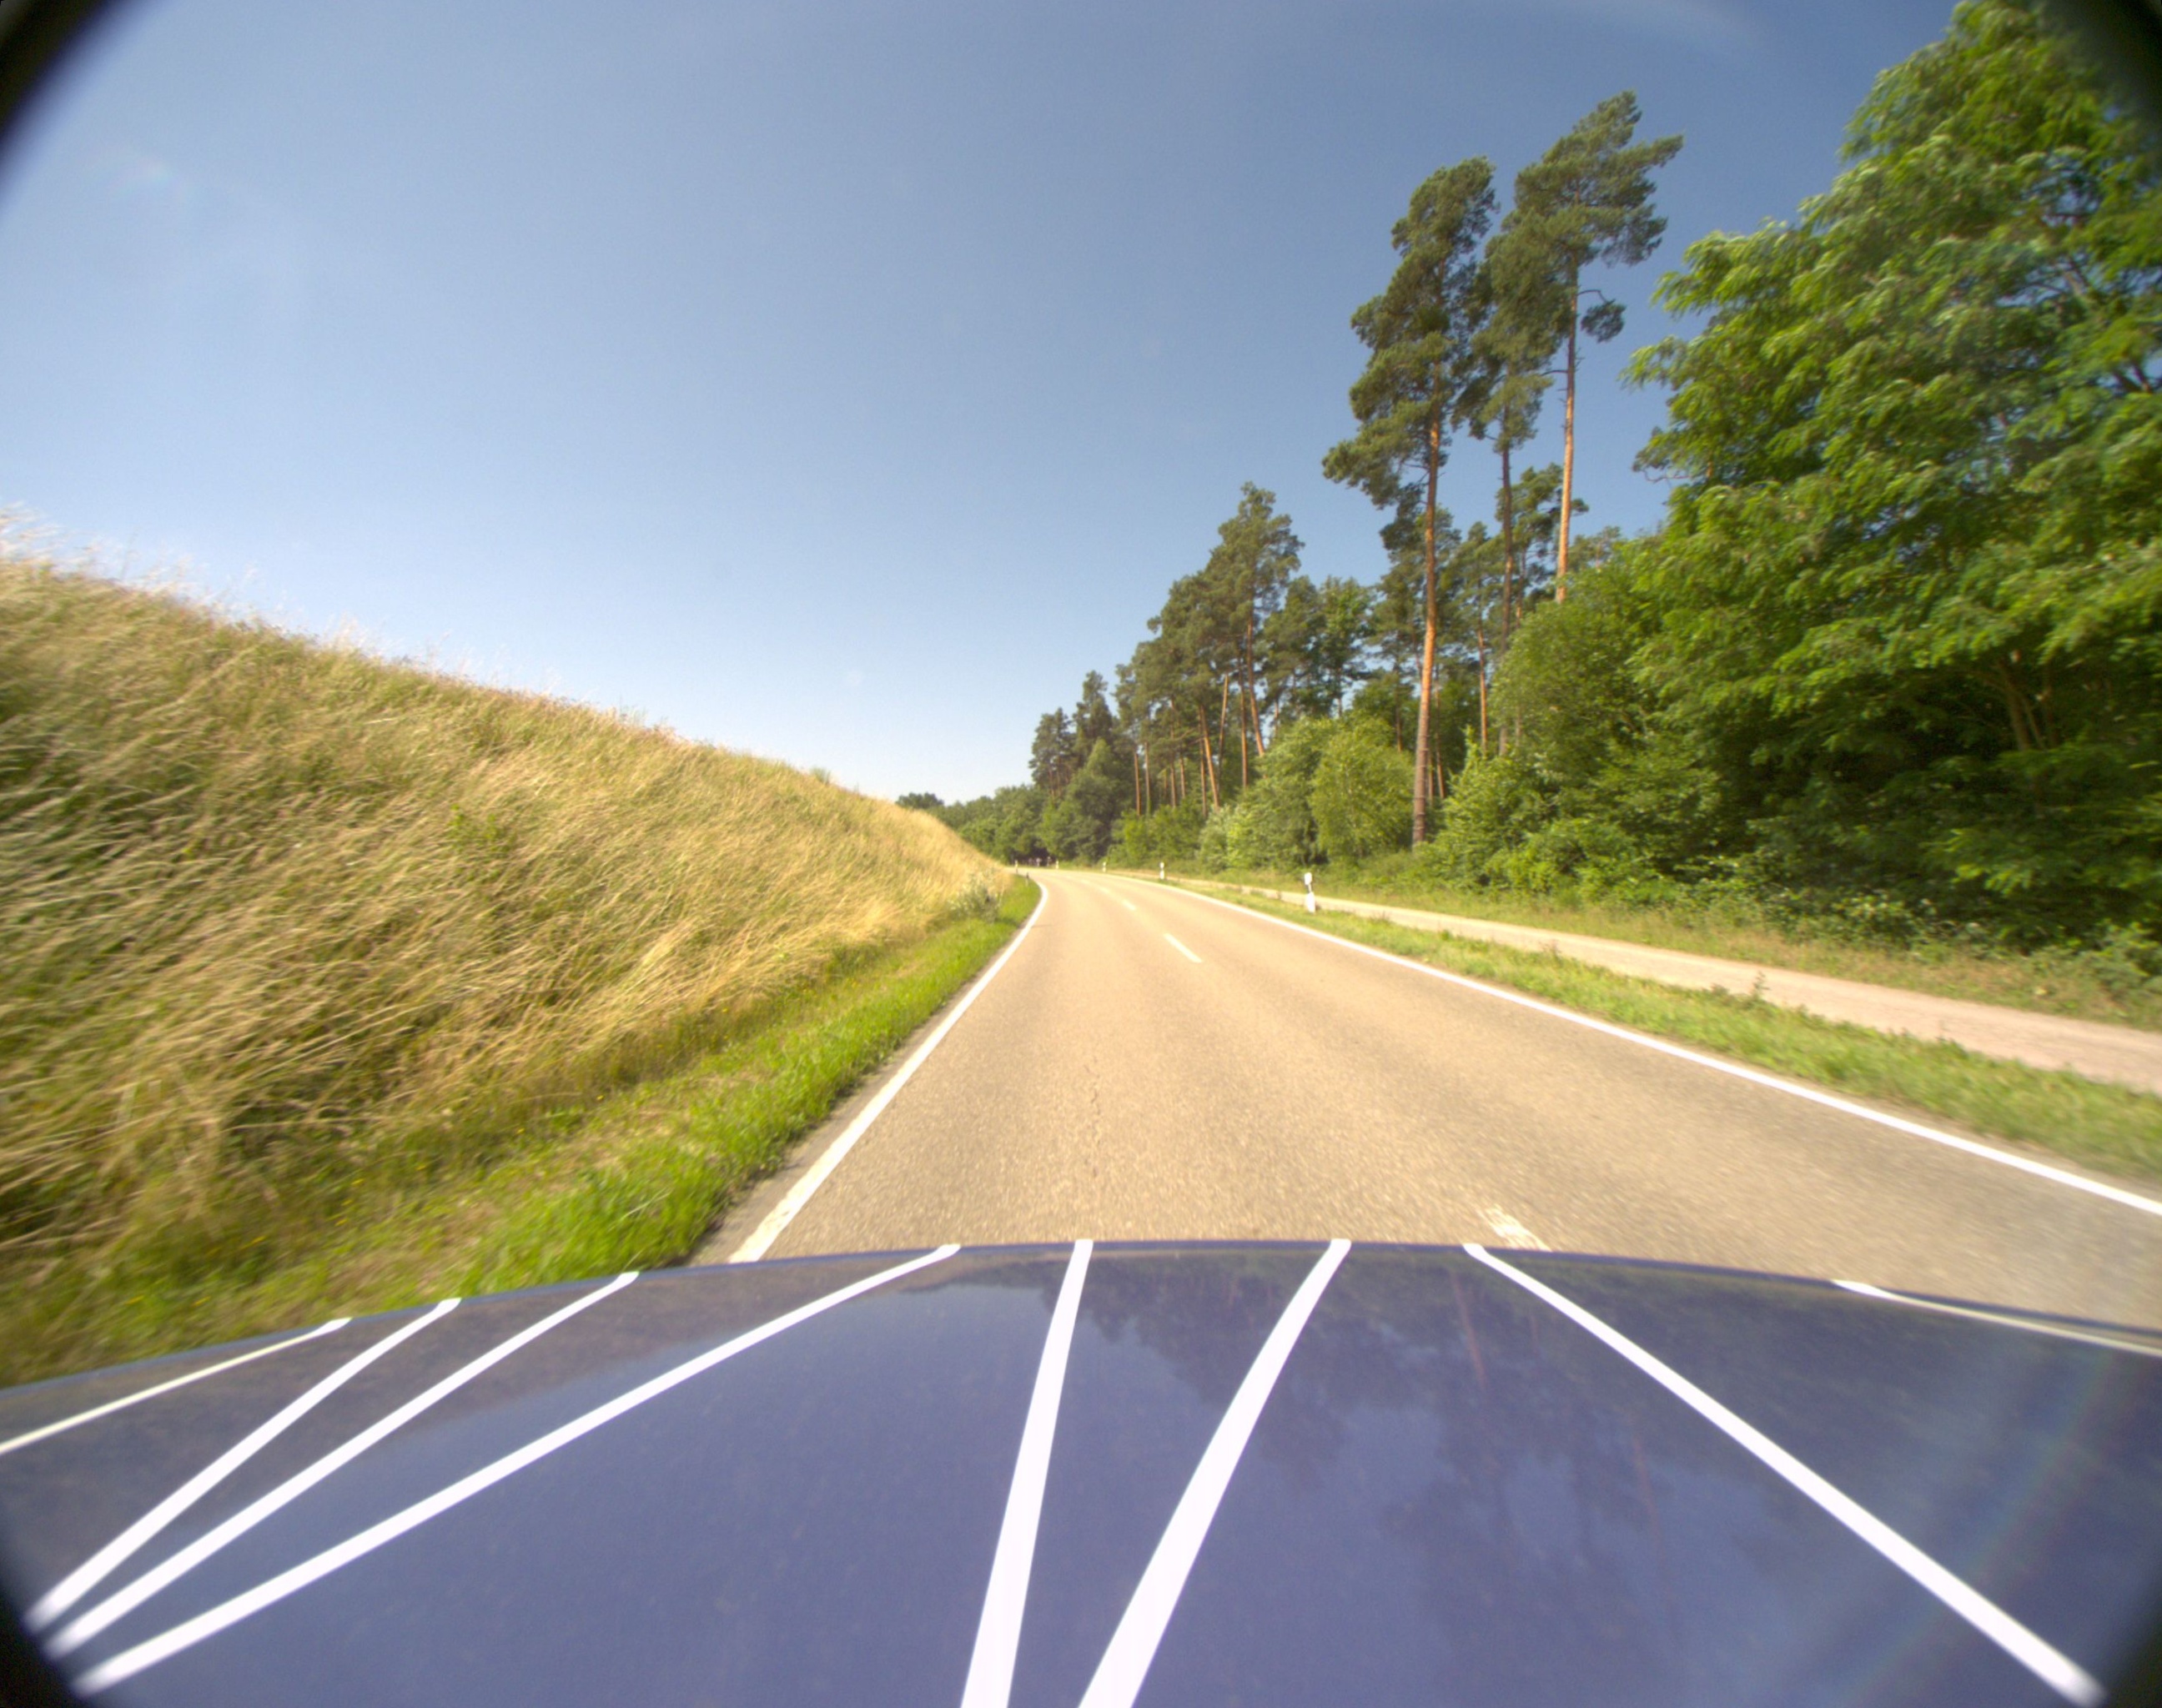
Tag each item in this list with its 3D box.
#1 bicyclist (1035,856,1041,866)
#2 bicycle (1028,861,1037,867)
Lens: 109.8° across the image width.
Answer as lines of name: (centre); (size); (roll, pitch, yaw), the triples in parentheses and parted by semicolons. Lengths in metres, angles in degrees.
bicyclist: (-7.112, 1.182, 126.152); (0.604, 1.709, 0.790); (-1, 3, 30)
bicycle: (-8.349, 1.684, 131.090); (0.605, 0.824, 1.988); (-10, -1, 26)
